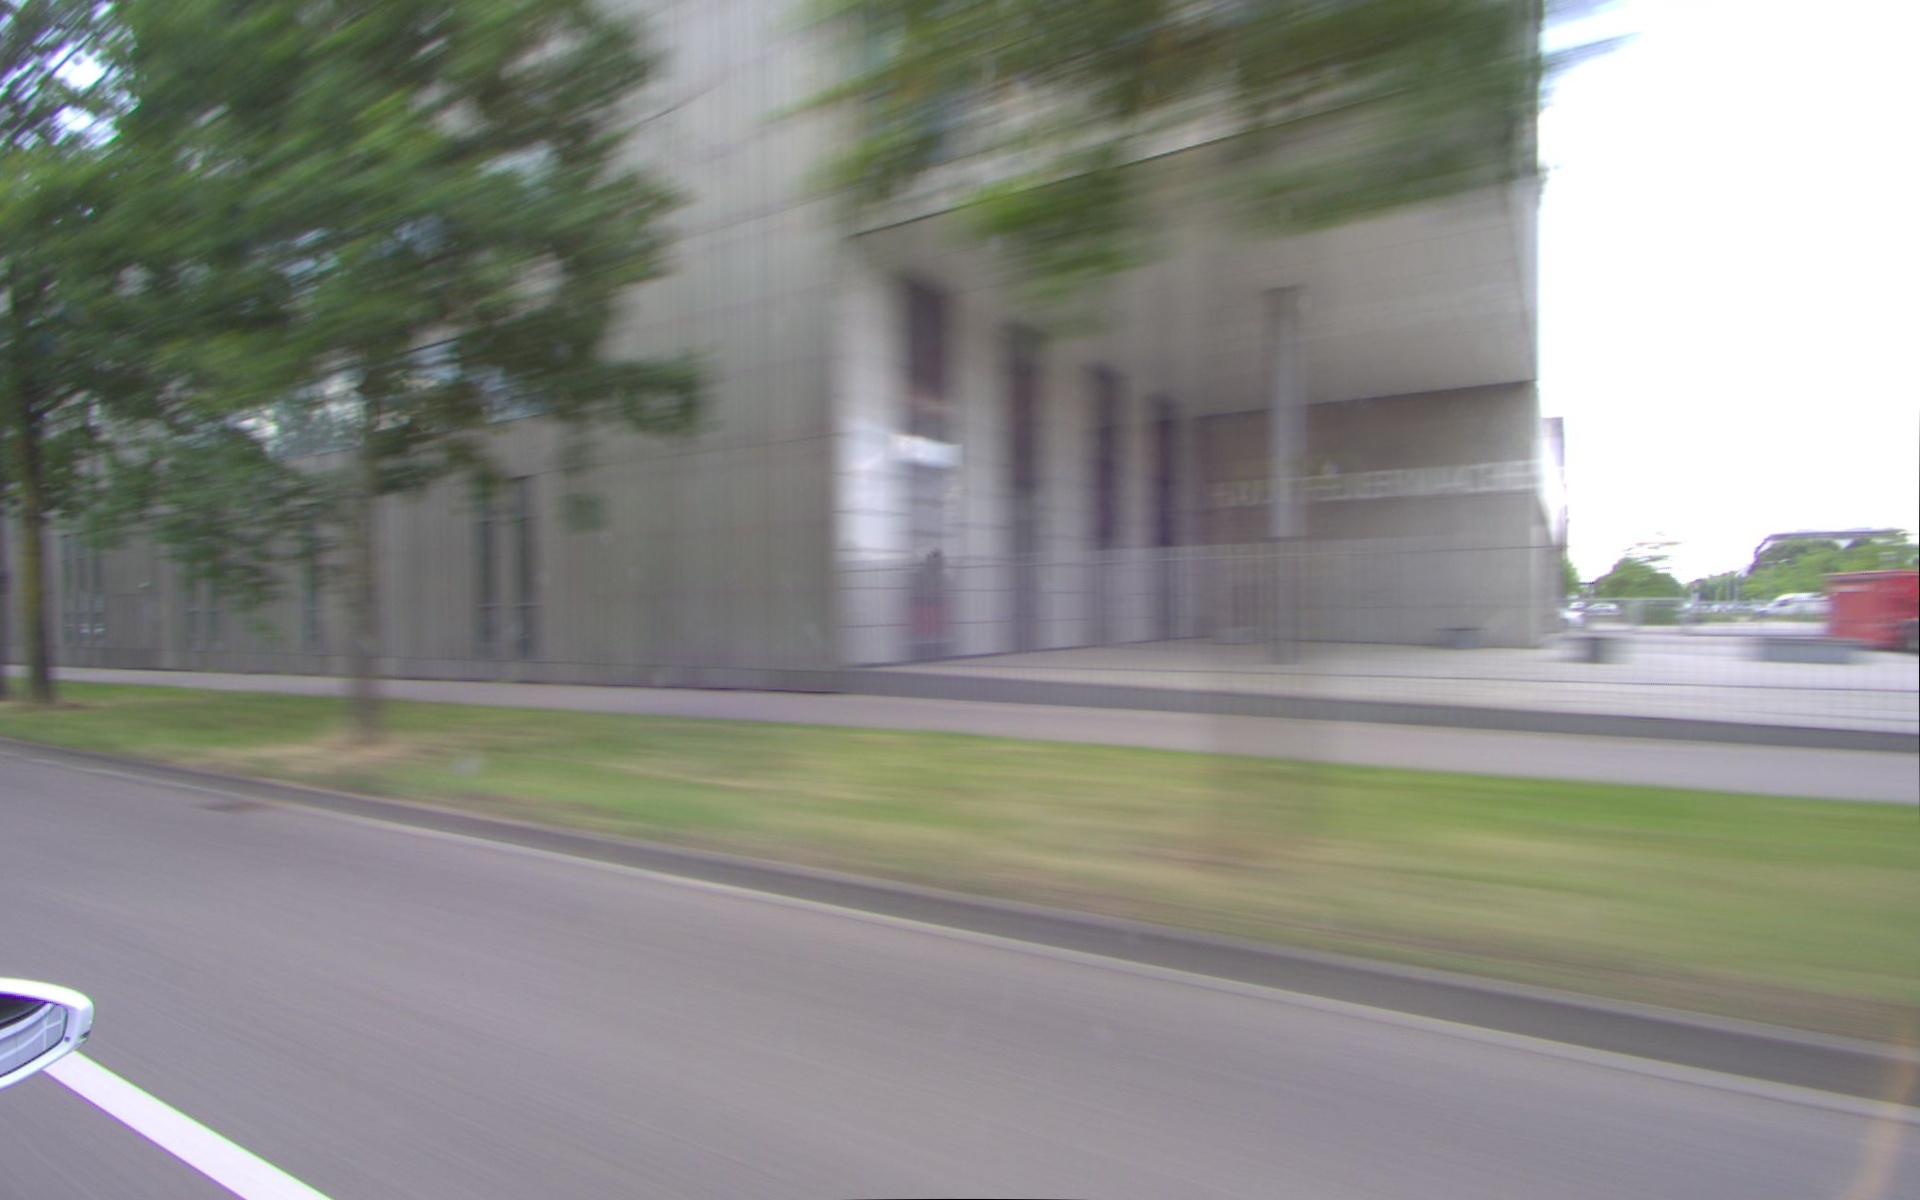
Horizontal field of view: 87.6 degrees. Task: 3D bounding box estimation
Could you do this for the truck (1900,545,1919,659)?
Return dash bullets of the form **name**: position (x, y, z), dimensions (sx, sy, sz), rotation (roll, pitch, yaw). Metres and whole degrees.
- **truck**: position (25.643, -0.037, 23.995), dimensions (2.496, 3.040, 7.774), rotation (-1, -2, 28)
